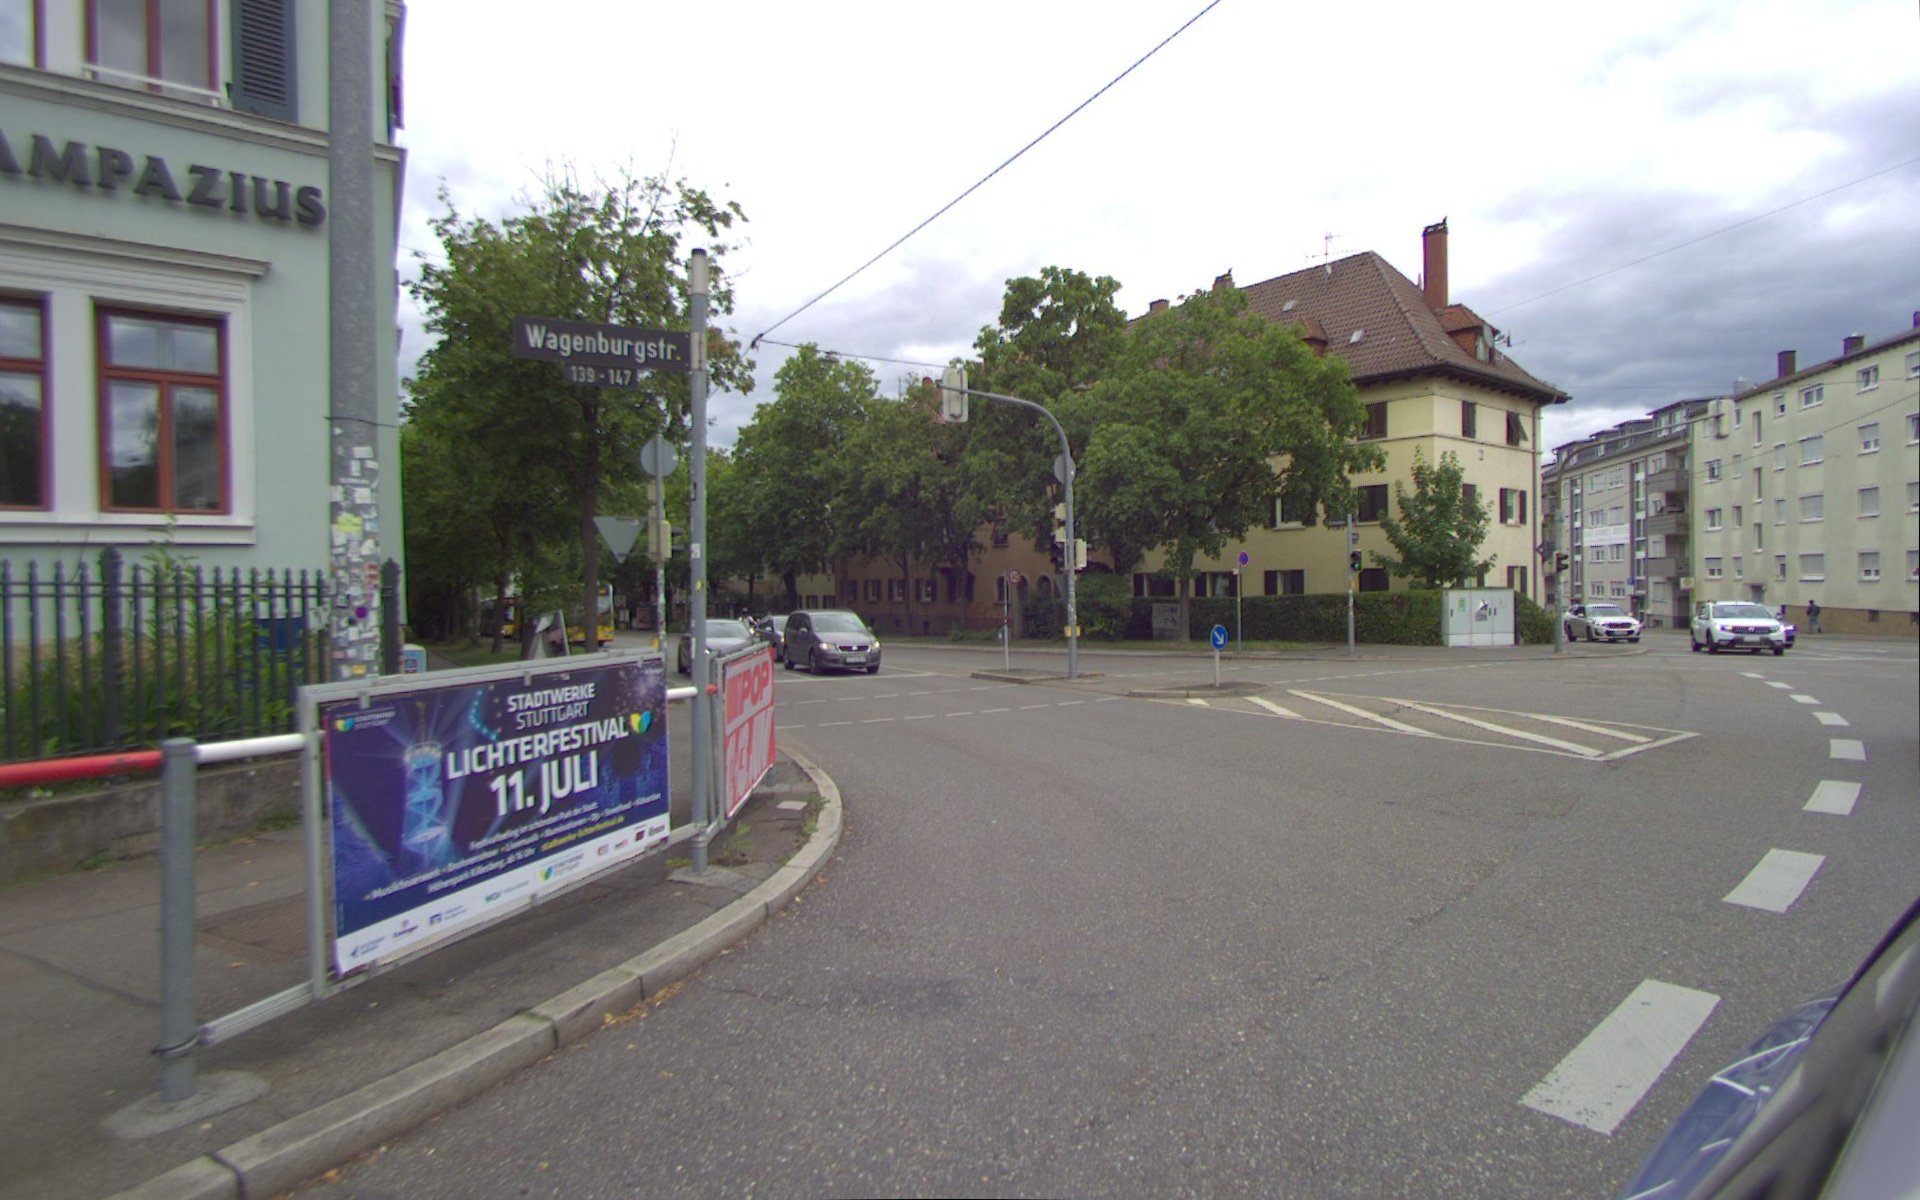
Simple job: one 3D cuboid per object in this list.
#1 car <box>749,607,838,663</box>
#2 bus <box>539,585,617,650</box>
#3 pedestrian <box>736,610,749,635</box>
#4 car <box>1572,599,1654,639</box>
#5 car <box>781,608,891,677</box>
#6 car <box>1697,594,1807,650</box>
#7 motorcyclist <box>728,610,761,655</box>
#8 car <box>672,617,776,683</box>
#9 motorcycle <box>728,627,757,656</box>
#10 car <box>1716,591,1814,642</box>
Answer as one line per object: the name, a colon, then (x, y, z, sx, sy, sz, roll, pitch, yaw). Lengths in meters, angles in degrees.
car: (-5.417, 1.067, 32.472, 1.845, 1.591, 4.059, -1, 0, -24)
bus: (-18.859, 0.793, 49.780, 2.469, 2.943, 6.537, -1, 0, -30)
pedestrian: (-14.971, 1.519, 69.639, 0.703, 1.689, 0.523, -1, 0, -40)
car: (27.583, 0.796, 42.865, 1.928, 1.570, 4.011, 1, -1, 18)
car: (-3.341, 1.050, 26.547, 1.759, 1.591, 4.059, -1, 0, -24)
car: (22.927, 0.633, 29.455, 1.892, 1.498, 3.847, 0, -1, 29)
motorcyclist: (-7.905, 1.188, 37.105, 0.952, 1.591, 1.091, -1, 0, -24)
car: (-6.047, 1.196, 25.646, 1.845, 1.406, 4.037, -1, 0, -24)
motorcycle: (-8.006, 1.508, 37.227, 0.625, 0.958, 2.027, -1, 0, -24)
car: (26.545, 0.554, 33.525, 2.023, 1.570, 3.990, 0, -1, 31)
